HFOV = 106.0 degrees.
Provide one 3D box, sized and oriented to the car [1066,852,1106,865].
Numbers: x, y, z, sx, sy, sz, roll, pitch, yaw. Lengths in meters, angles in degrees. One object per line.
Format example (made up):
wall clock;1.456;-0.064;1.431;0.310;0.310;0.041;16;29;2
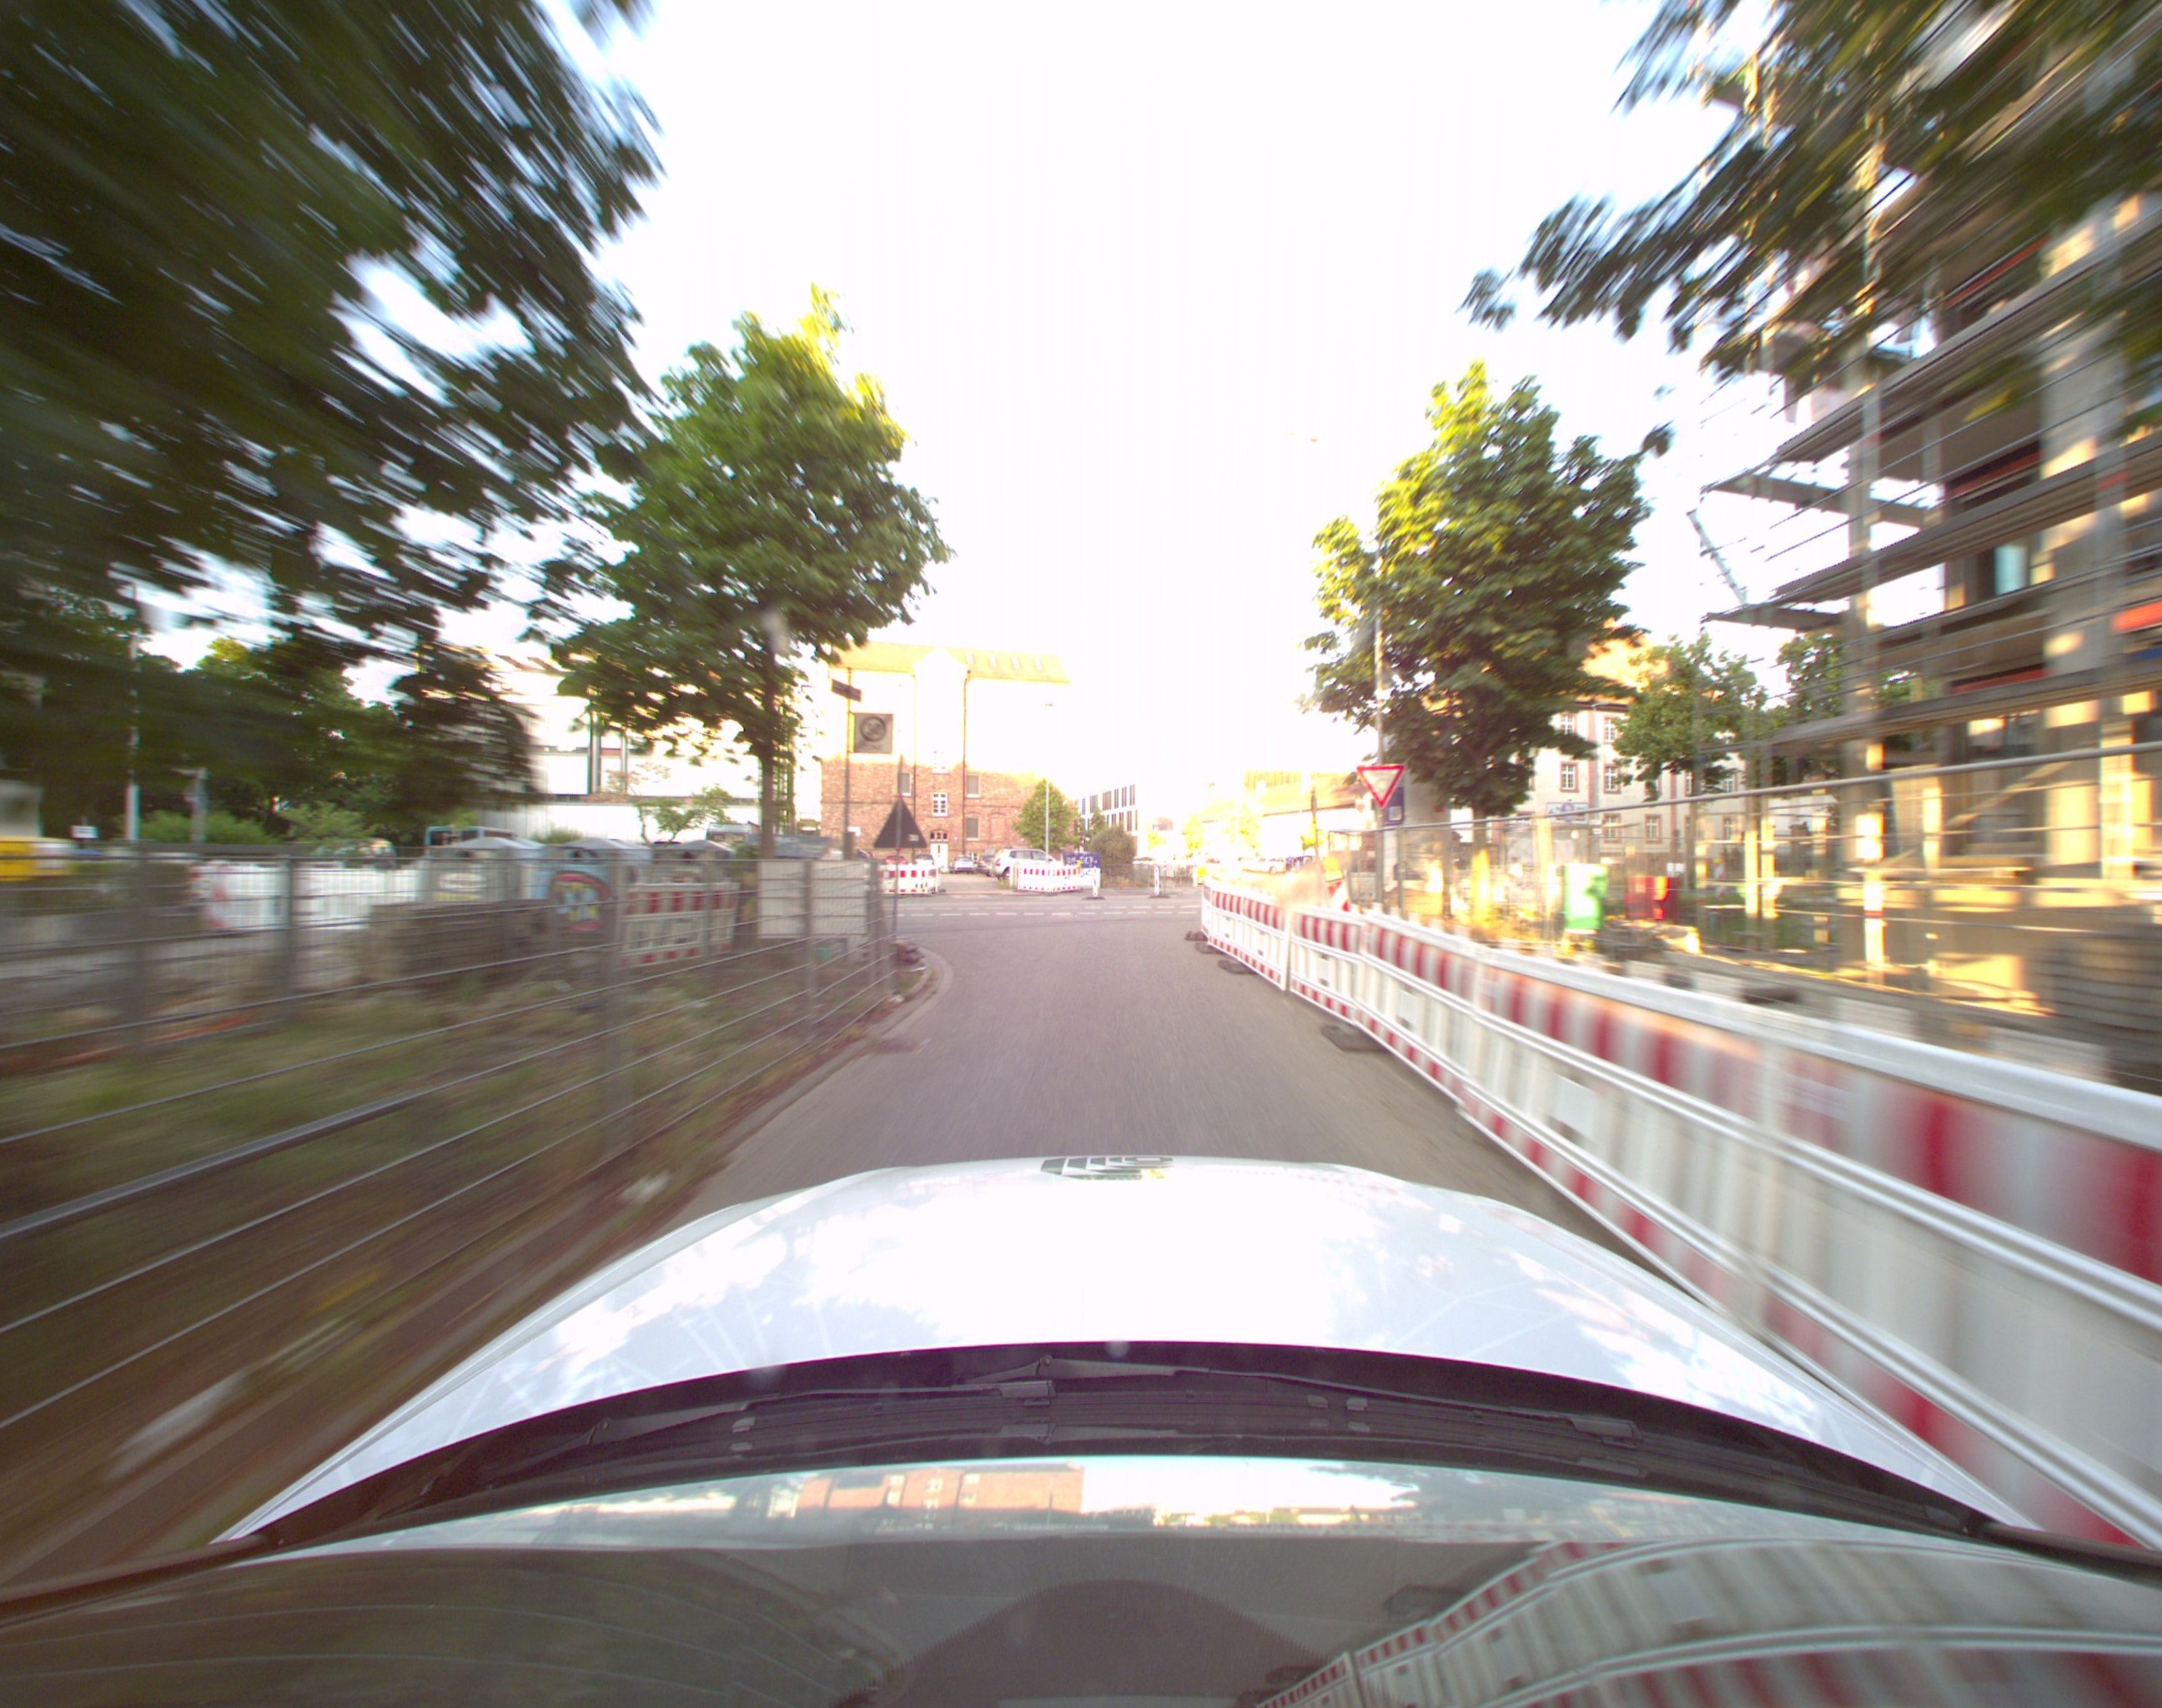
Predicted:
car;0.524;0.456;86.552;3.996;1.313;1.867;0;-1;-17

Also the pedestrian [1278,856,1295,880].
pedestrian;14.022;0.962;55.573;0.751;1.642;1.009;0;-1;-15

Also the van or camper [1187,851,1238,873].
van or camper;13.371;0.839;82.784;4.978;2.240;1.676;0;-1;-20

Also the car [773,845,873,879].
car;-12.649;0.375;40.166;4.590;1.638;1.568;0;0;-15

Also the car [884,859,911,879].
car;-14.365;1.141;63.642;1.900;1.537;4.157;0;0;-15

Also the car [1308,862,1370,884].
car;19.129;1.416;60.361;3.999;1.573;1.987;0;-1;-19

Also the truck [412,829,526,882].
truck;-25.617;0.082;34.338;2.107;2.091;4.493;0;-1;-12

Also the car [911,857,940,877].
car;-12.298;1.011;64.223;1.900;1.537;4.157;0;0;-15

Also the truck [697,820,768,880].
truck;-16.224;-0.151;38.195;2.338;2.617;4.948;0;0;-15

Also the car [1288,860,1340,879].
car;18.459;1.225;64.569;3.752;1.529;1.676;0;-1;-19

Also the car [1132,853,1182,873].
car;6.290;0.749;67.495;3.752;1.603;1.676;0;-1;-19

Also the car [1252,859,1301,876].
car;16.588;1.159;69.188;3.752;1.445;1.676;0;-1;-19

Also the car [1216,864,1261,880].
car;14.634;1.668;75.566;3.752;1.445;1.676;0;-1;-19

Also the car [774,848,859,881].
car;-12.232;0.481;37.884;3.637;1.504;1.629;0;0;-15

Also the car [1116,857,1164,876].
car;5.095;1.070;70.283;3.752;1.603;1.676;0;-1;-19

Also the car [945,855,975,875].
car;-9.660;0.840;65.015;1.900;1.537;4.157;0;0;-15

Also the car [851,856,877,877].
car;-16.888;0.936;63.360;1.900;1.537;4.157;0;0;-15

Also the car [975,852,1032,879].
car;-5.115;0.719;53.362;3.483;1.708;1.658;0;0;-17

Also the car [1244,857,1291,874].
car;16.406;1.005;71.837;3.752;1.445;1.676;0;-1;-19

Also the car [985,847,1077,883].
car;-2.489;0.531;40.427;4.279;1.708;1.693;0;0;-17

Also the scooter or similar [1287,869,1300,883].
scooter or similar;14.216;1.486;54.591;0.514;0.890;0.802;0;-1;-15
